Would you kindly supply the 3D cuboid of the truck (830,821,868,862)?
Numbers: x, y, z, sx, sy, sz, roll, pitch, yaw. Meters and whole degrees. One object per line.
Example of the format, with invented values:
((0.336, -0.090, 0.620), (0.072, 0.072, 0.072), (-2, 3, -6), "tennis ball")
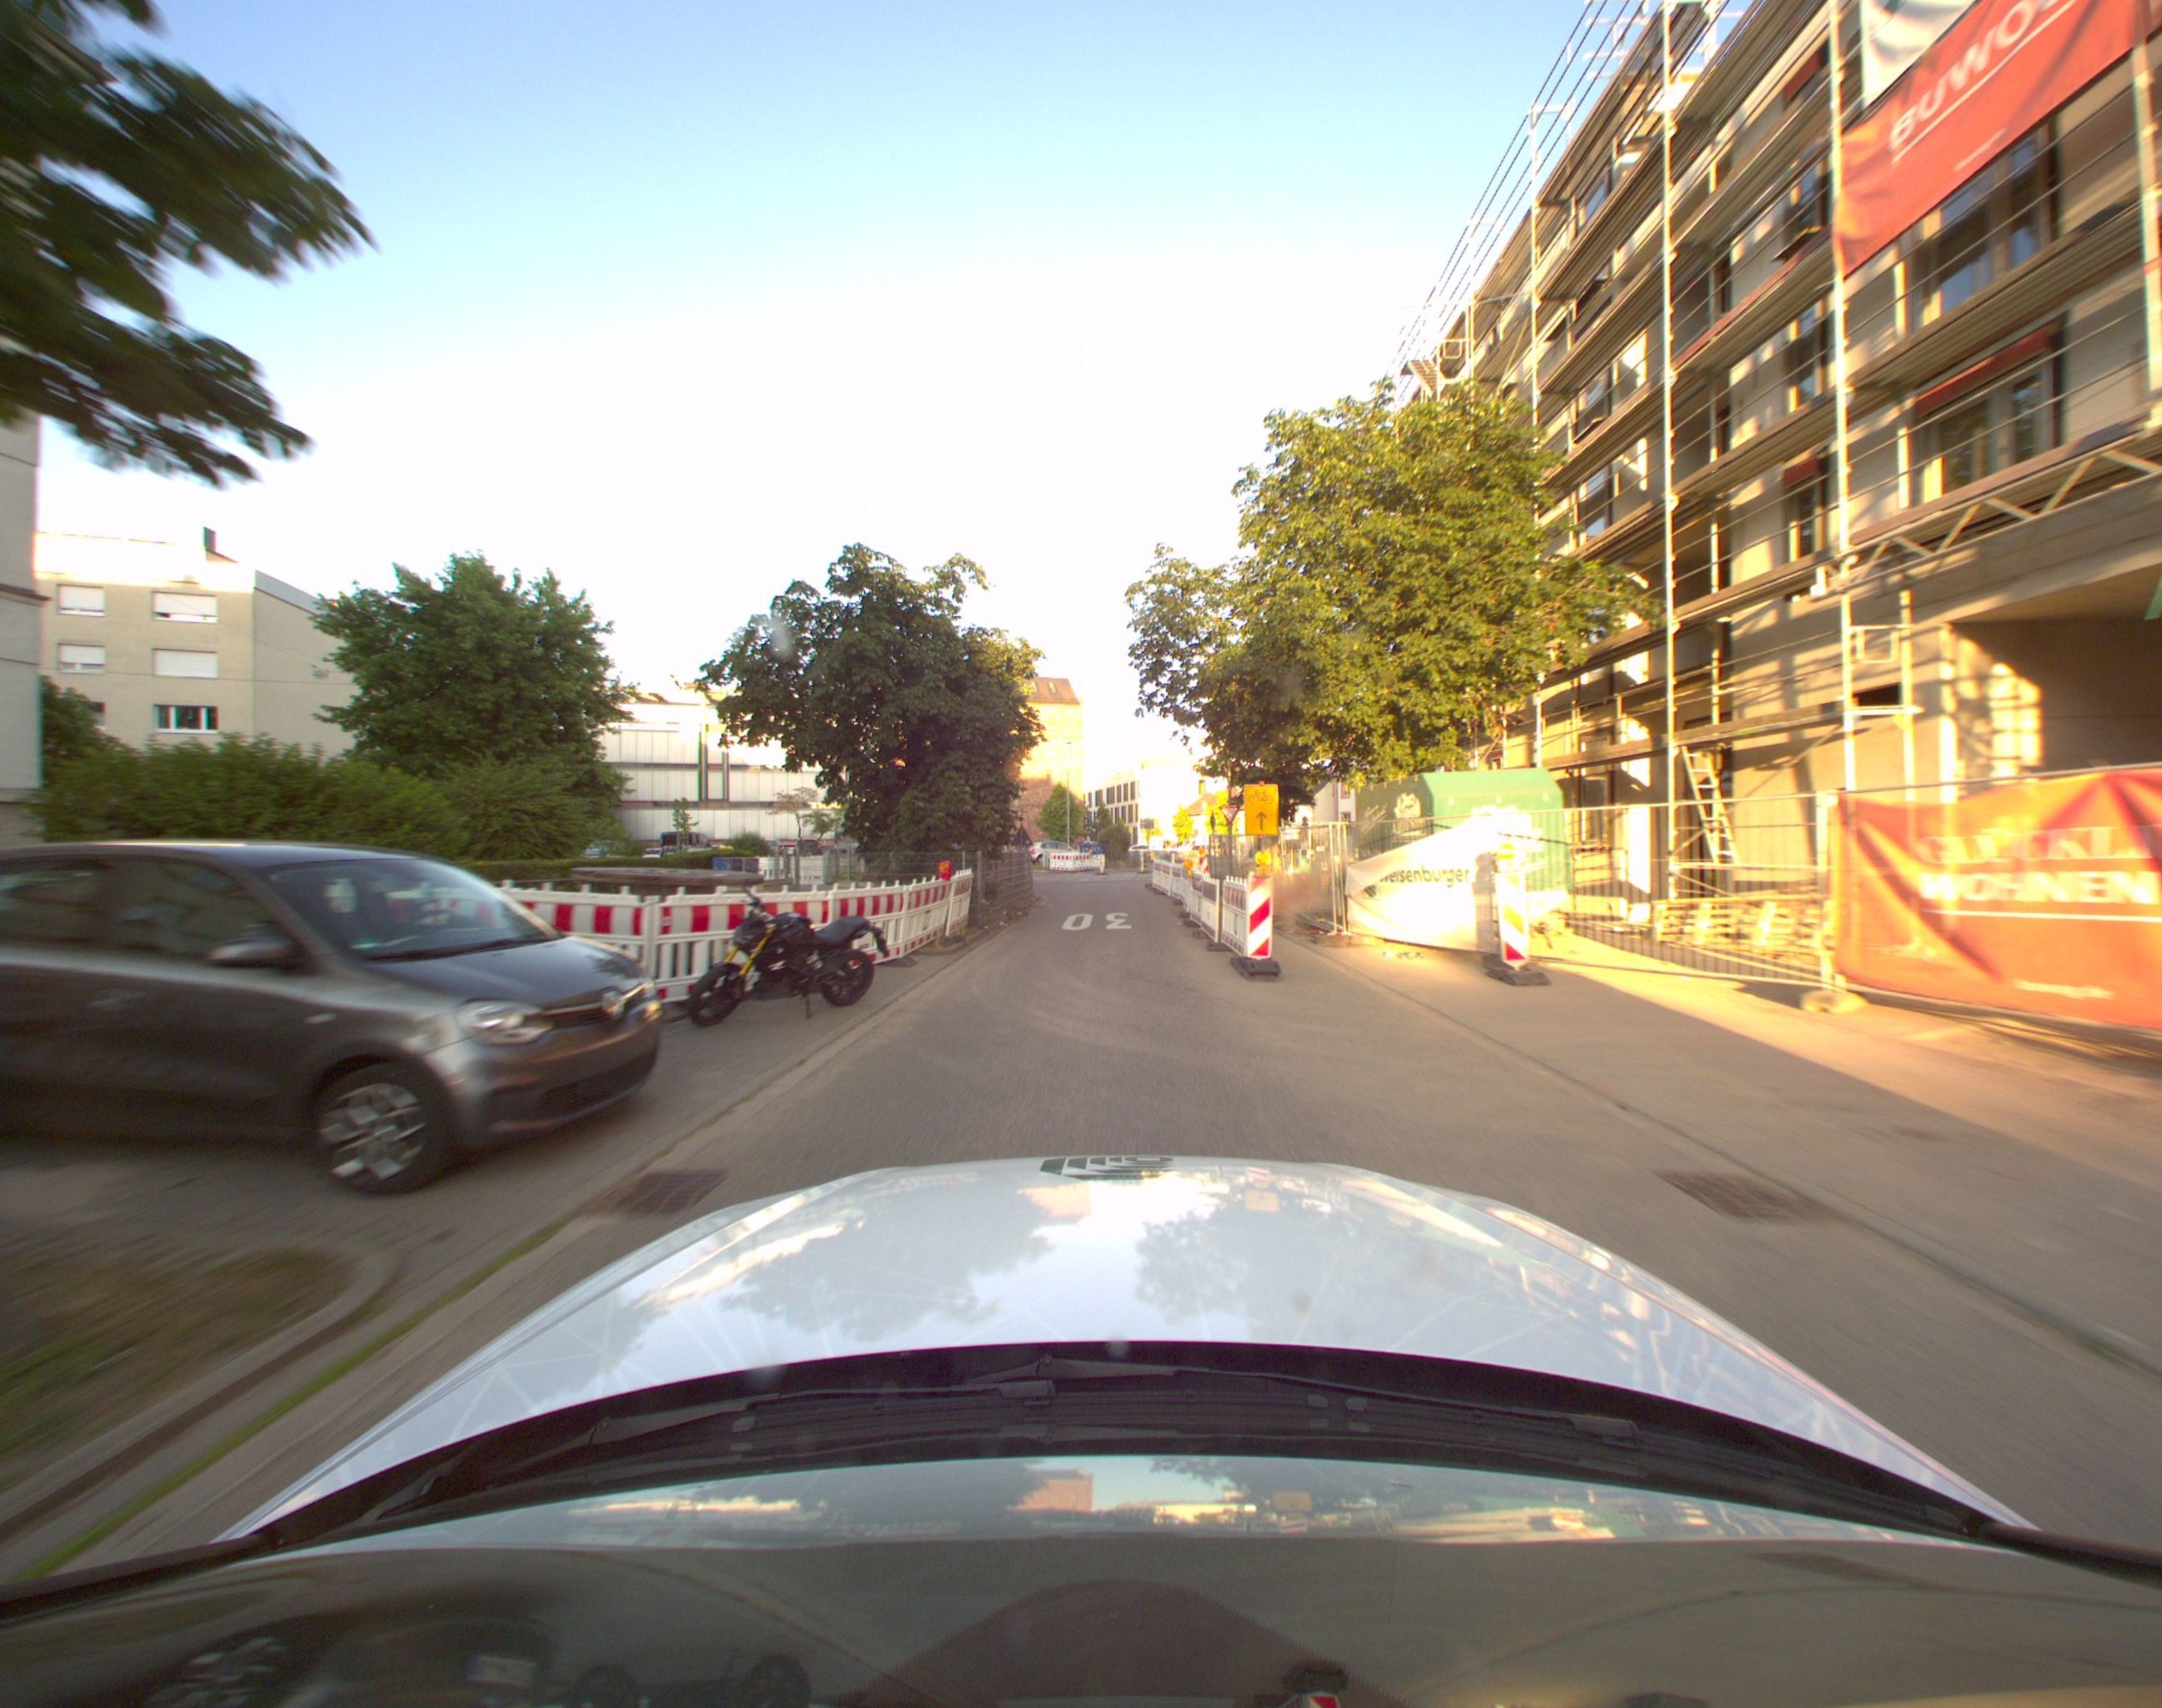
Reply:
((-15.615, -0.833, 55.084), (2.337, 2.616, 4.949), (-1, 1, -14), "truck")

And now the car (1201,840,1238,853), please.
((15.615, -0.865, 91.872), (3.752, 1.445, 1.676), (-1, 0, -19), "car")

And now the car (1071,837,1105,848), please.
((0.919, -1.433, 103.040), (3.996, 1.313, 1.867), (-1, 2, -17), "car")

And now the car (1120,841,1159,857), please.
((6.226, -0.528, 86.987), (3.752, 1.603, 1.676), (-1, 0, -19), "car")

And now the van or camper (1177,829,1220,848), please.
((14.369, -1.864, 99.523), (4.977, 2.240, 1.676), (-1, 0, -19), "van or camper")

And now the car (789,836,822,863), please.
((-18.323, -0.335, 54.299), (1.998, 1.692, 3.977), (-1, 1, -17), "car")

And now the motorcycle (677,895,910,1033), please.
((-2.624, 0.961, 7.761), (0.532, 1.020, 2.225), (3, 1, 31), "motorcycle")

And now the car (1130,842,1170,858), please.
((7.136, -0.385, 84.210), (3.752, 1.603, 1.676), (-1, 0, -19), "car")

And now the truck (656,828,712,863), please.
((-24.945, -0.568, 51.388), (2.107, 2.090, 4.494), (-1, 1, -12), "truck")

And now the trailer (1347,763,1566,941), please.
((6.066, -0.055, 13.782), (1.985, 2.539, 4.190), (0, 1, 3), "trailer")

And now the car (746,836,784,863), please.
((-20.614, -0.311, 53.332), (1.998, 1.727, 4.276), (-1, 1, -17), "car")

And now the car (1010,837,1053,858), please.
((-4.274, -0.558, 70.119), (3.483, 1.708, 1.659), (-1, 1, -17), "car")

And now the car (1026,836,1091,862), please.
((-1.609, -0.369, 57.043), (4.279, 1.708, 1.693), (-1, 1, -17), "car")

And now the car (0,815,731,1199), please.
((-4.133, 0.645, 4.463), (3.609, 1.557, 1.694), (3, 0, 2), "car")
